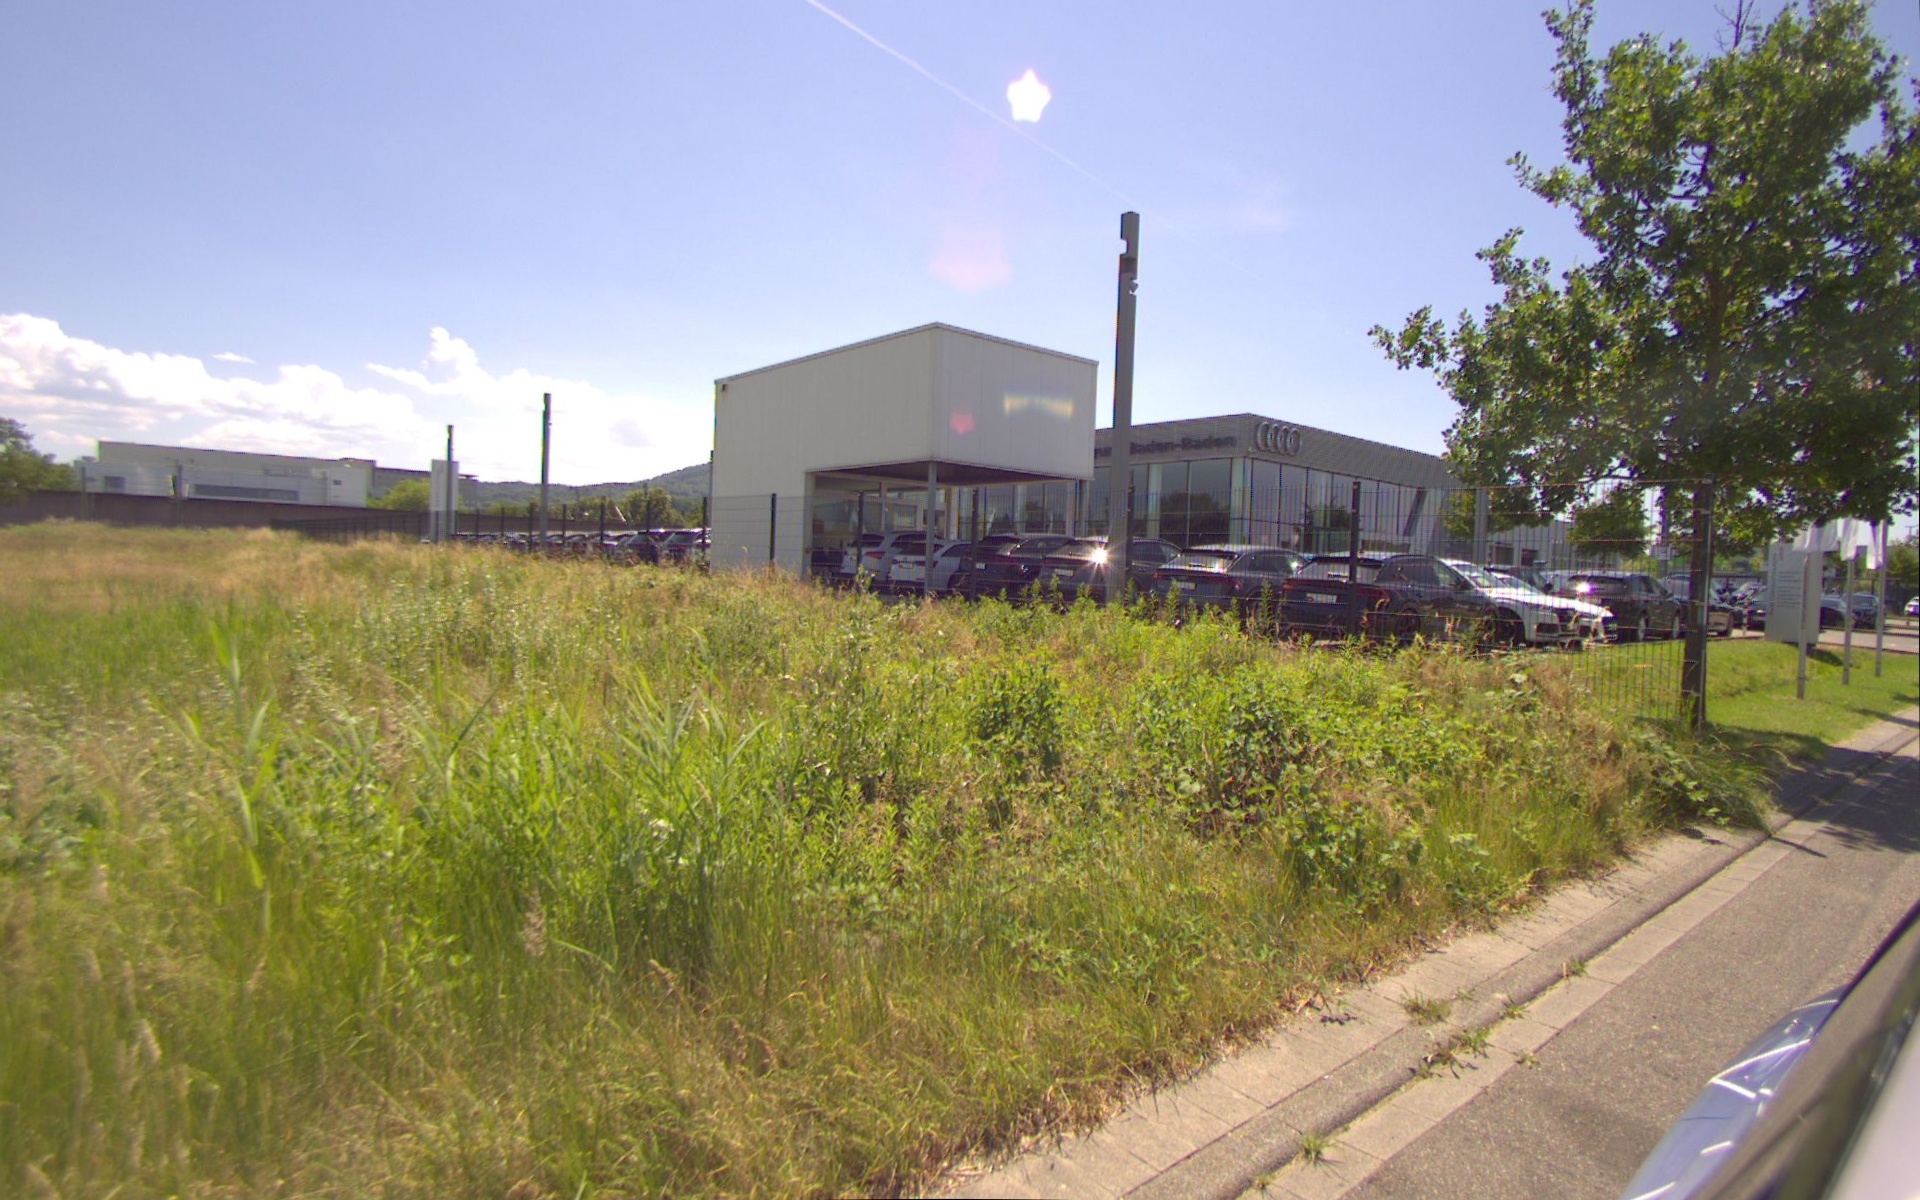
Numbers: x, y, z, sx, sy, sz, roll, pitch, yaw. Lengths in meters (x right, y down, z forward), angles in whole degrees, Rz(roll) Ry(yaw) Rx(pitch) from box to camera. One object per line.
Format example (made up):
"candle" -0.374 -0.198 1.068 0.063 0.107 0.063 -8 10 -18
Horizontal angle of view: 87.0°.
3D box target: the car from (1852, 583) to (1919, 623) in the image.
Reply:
"car" 42.812 0.148 46.708 4.154 1.589 1.892 1 5 -42

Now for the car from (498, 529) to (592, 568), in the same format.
"car" -20.708 -2.564 50.549 3.930 1.807 1.998 0 3 -41

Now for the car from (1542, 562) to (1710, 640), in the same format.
"car" 15.975 0.011 24.182 4.694 1.592 2.030 1 4 -40

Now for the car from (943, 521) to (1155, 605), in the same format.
"car" 2.112 -0.819 23.272 4.722 1.700 2.031 1 4 -39

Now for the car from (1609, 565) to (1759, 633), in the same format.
"car" 19.736 -0.032 27.495 5.146 1.532 2.031 1 5 -40

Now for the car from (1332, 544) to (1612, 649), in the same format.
"car" 10.117 -0.147 20.341 1.994 1.713 4.544 1 4 -37

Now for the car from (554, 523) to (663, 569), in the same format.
"car" -15.134 -2.300 43.647 3.930 1.807 1.998 0 3 -41

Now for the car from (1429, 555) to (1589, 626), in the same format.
"car" 14.337 -0.233 26.319 4.694 1.609 2.030 1 4 -40

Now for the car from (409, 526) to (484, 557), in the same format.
"car" -33.166 -3.777 65.373 3.930 1.807 1.998 0 3 -41

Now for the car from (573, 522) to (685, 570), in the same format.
"car" -13.652 -2.208 41.817 3.930 1.807 1.998 0 3 -41

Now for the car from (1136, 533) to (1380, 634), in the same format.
"car" 5.690 -0.311 19.055 4.722 1.630 2.031 1 4 -39

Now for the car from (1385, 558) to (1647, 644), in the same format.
"car" 11.952 -0.037 22.012 1.996 1.475 4.539 1 4 -41

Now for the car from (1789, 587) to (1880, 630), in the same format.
"car" 34.398 0.363 39.773 4.637 1.382 1.967 2 4 -41

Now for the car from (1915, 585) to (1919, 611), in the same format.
"car" 61.072 -0.053 63.042 4.859 1.547 1.823 0 4 -42

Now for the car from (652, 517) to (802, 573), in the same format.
"car" -8.222 -1.931 35.904 4.722 1.746 2.031 1 4 -39

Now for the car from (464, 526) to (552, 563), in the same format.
"car" -24.373 -2.979 54.651 3.930 1.807 1.998 0 3 -41

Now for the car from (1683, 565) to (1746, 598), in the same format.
"car" 42.453 -1.022 56.914 4.214 1.632 1.966 1 4 -42

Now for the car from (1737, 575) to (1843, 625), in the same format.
"car" 28.785 -0.057 35.058 4.899 1.474 1.966 -2 5 -41

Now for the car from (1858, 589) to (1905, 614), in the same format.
"car" 67.027 0.092 73.616 4.546 1.649 1.966 1 4 -42

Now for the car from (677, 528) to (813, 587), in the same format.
"car" -7.137 -1.391 33.719 3.930 1.807 1.998 0 3 -41

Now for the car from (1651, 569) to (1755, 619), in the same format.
"car" 27.443 -0.269 37.330 4.899 1.617 1.966 -2 5 -41

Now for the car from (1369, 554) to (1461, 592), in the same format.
"car" 21.363 -1.298 47.438 4.899 1.640 1.966 -2 5 -41

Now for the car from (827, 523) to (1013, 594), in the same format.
"car" -1.011 -1.110 27.411 4.722 1.674 2.031 1 4 -39

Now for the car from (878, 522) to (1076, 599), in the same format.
"car" 0.486 -0.956 25.354 4.722 1.674 2.031 1 4 -39

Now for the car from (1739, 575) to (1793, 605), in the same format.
"car" 51.143 -0.619 64.174 4.341 1.714 1.829 1 5 -42

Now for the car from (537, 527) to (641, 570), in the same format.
"car" -16.758 -2.323 45.772 3.930 1.807 1.998 0 3 -41

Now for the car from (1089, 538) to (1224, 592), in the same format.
"car" 6.769 -1.165 34.623 4.696 1.609 2.029 0 4 -42

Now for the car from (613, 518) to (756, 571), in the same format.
"car" -10.274 -2.062 37.921 4.722 1.746 2.031 1 4 -39

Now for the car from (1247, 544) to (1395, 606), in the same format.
"car" 10.825 -0.725 30.198 4.694 1.609 2.030 1 4 -40

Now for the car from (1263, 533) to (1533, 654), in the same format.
"car" 7.484 -0.126 17.064 5.016 1.713 2.031 1 4 -39

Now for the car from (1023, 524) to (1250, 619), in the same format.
"car" 3.777 -0.569 21.194 4.722 1.746 2.031 1 4 -39
